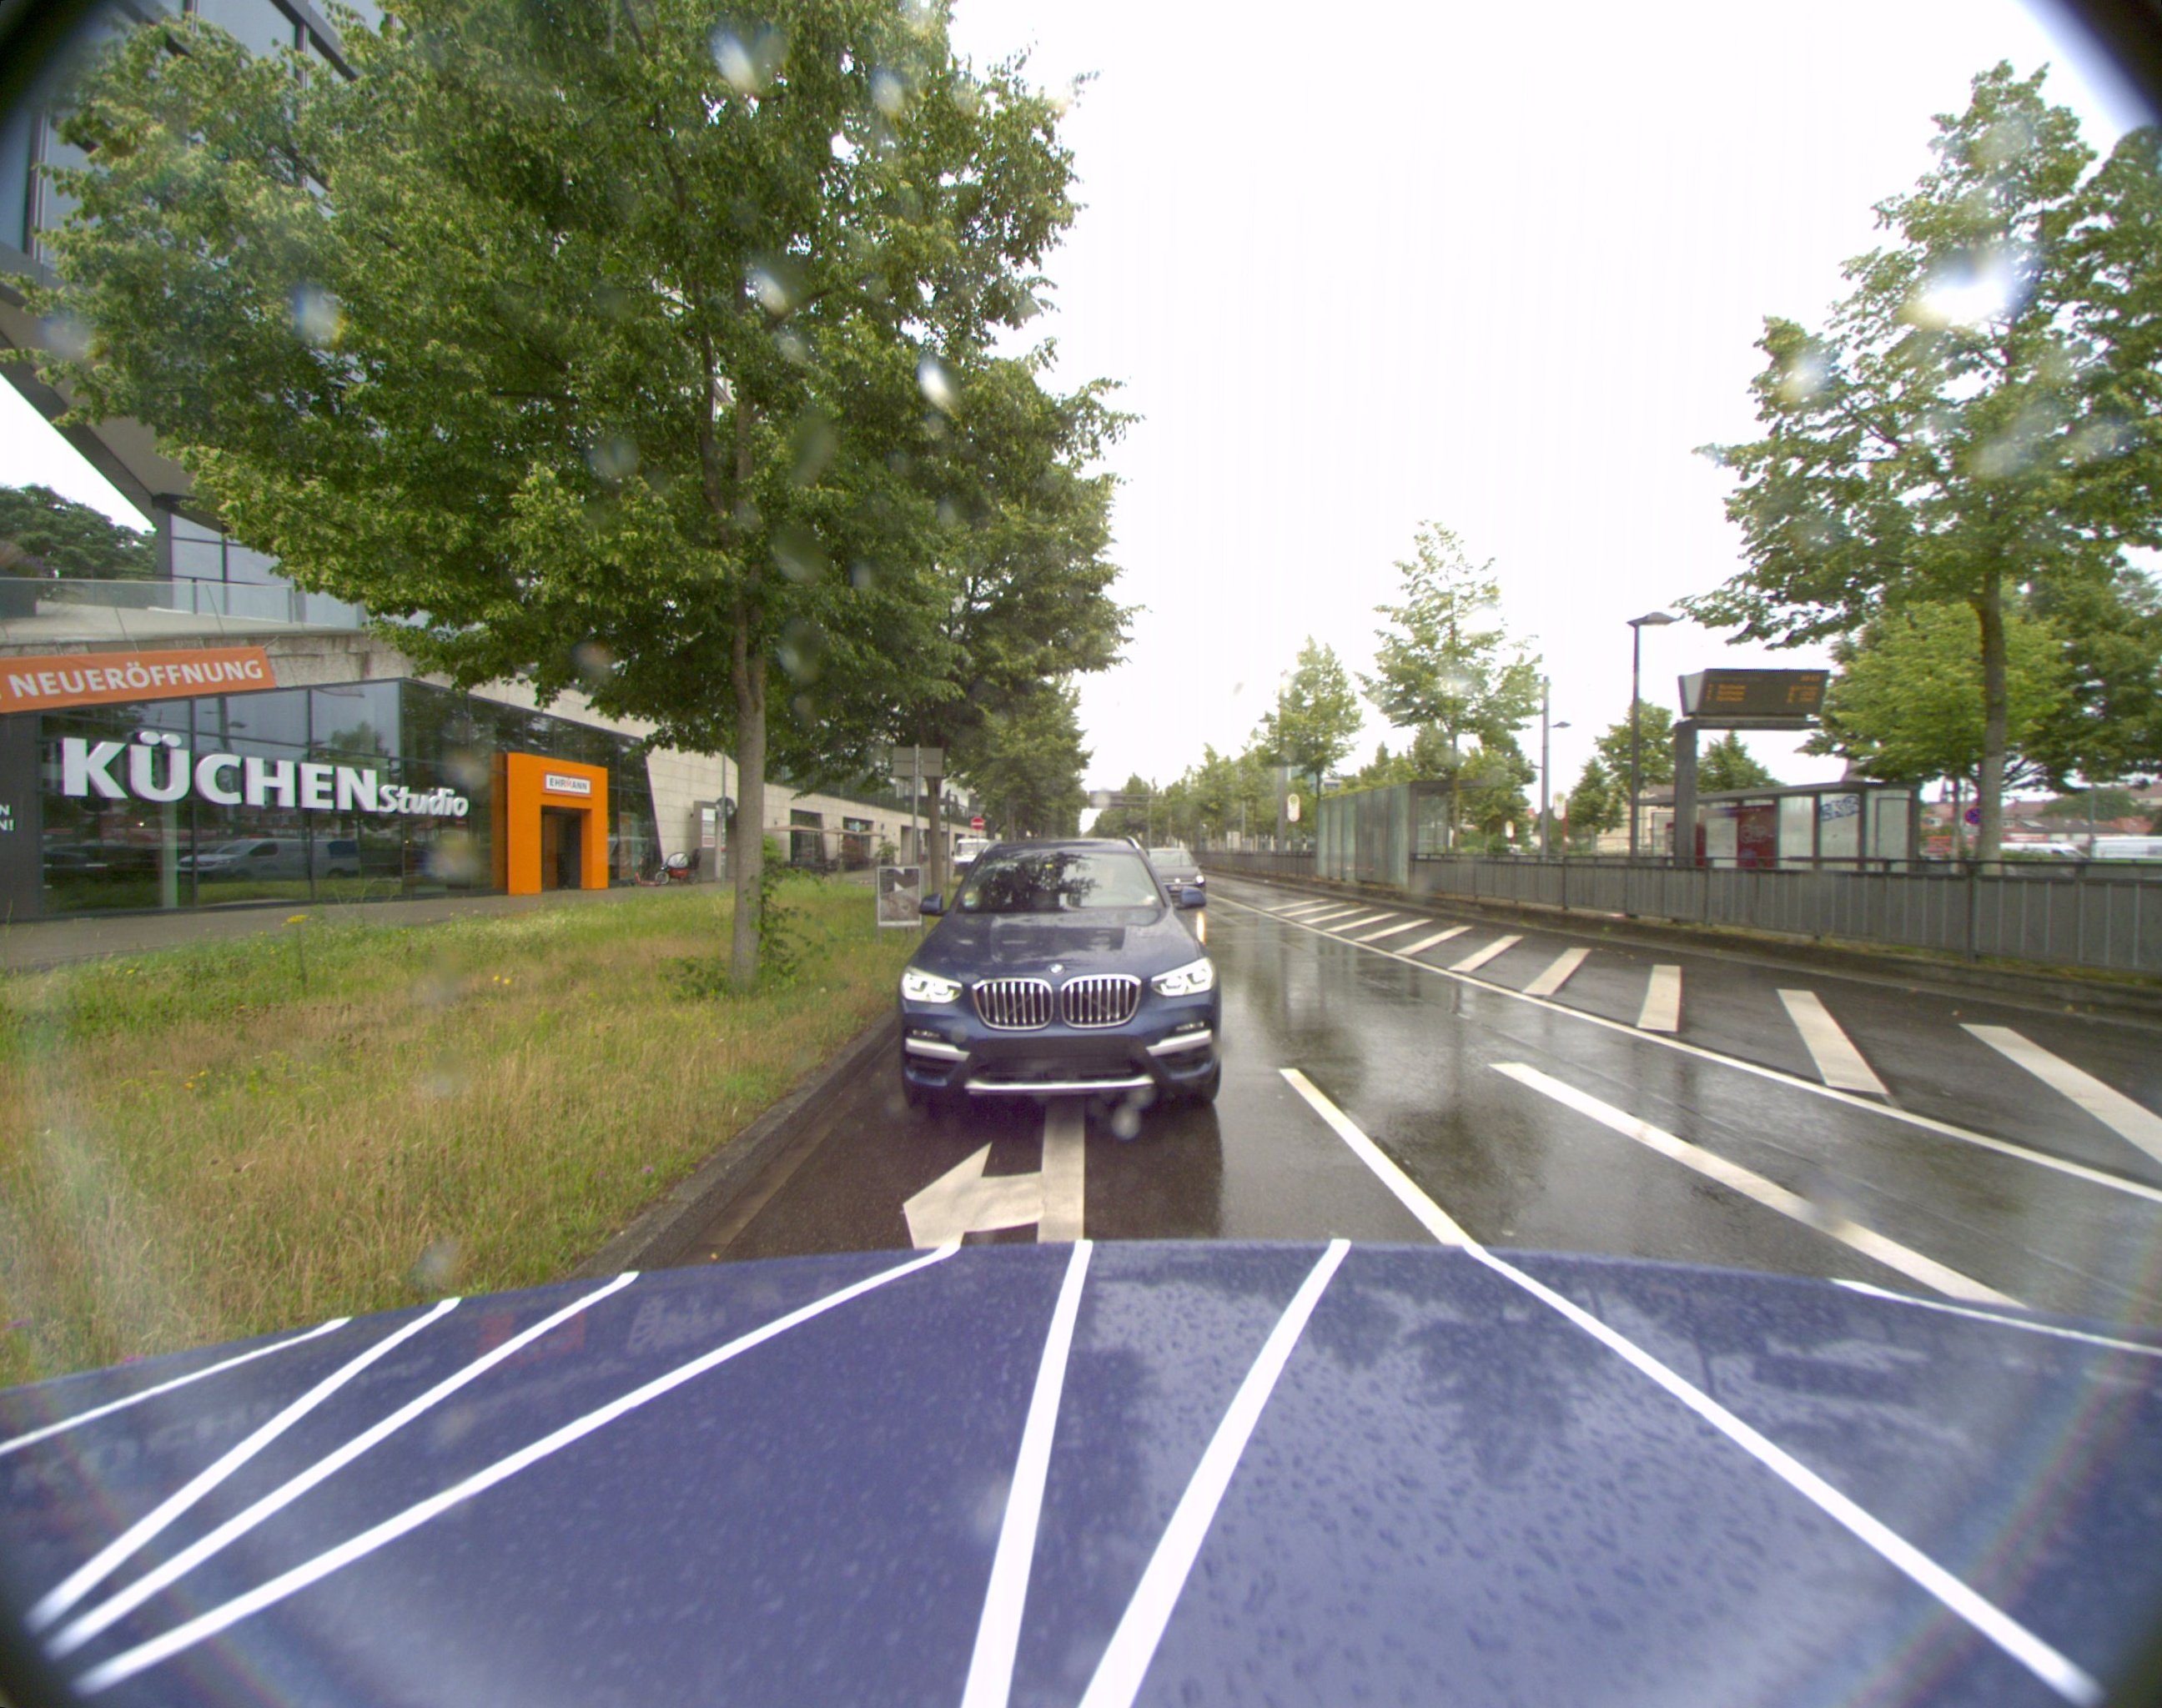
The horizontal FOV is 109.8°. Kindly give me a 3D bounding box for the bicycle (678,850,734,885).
[{"bbox_3d":[-15.351,0.528,31.183,0.882,1.339,2.696,-2,1,1],"label":"bicycle"}]

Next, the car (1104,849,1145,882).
[{"bbox_3d":[2.130,0.545,37.879,1.788,1.450,4.315,-2,1,1],"label":"car"}]

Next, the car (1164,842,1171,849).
[{"bbox_3d":[26.887,-2.528,235.925,1.998,2.002,4.000,-2,1,2],"label":"car"}]

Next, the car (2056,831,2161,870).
[{"bbox_3d":[70.132,-0.266,49.825,2.356,2.462,7.636,-2,1,-3],"label":"car"}]

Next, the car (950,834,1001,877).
[{"bbox_3d":[-5.946,0.048,43.388,2.084,2.189,5.097,-2,1,1],"label":"car"}]

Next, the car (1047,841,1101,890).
[{"bbox_3d":[-0.220,0.377,28.131,1.788,1.638,3.999,-2,1,1],"label":"car"}]

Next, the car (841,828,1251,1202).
[{"bbox_3d":[-0.143,0.811,5.858,1.916,1.736,4.384,-2,-1,1],"label":"car"}]

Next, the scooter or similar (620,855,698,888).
[{"bbox_3d":[-15.611,0.629,28.208,0.810,1.093,2.617,-2,1,18],"label":"scooter or similar"}]

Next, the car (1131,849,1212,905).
[{"bbox_3d":[2.677,0.631,23.492,1.788,1.509,4.331,-2,1,-2],"label":"car"}]
